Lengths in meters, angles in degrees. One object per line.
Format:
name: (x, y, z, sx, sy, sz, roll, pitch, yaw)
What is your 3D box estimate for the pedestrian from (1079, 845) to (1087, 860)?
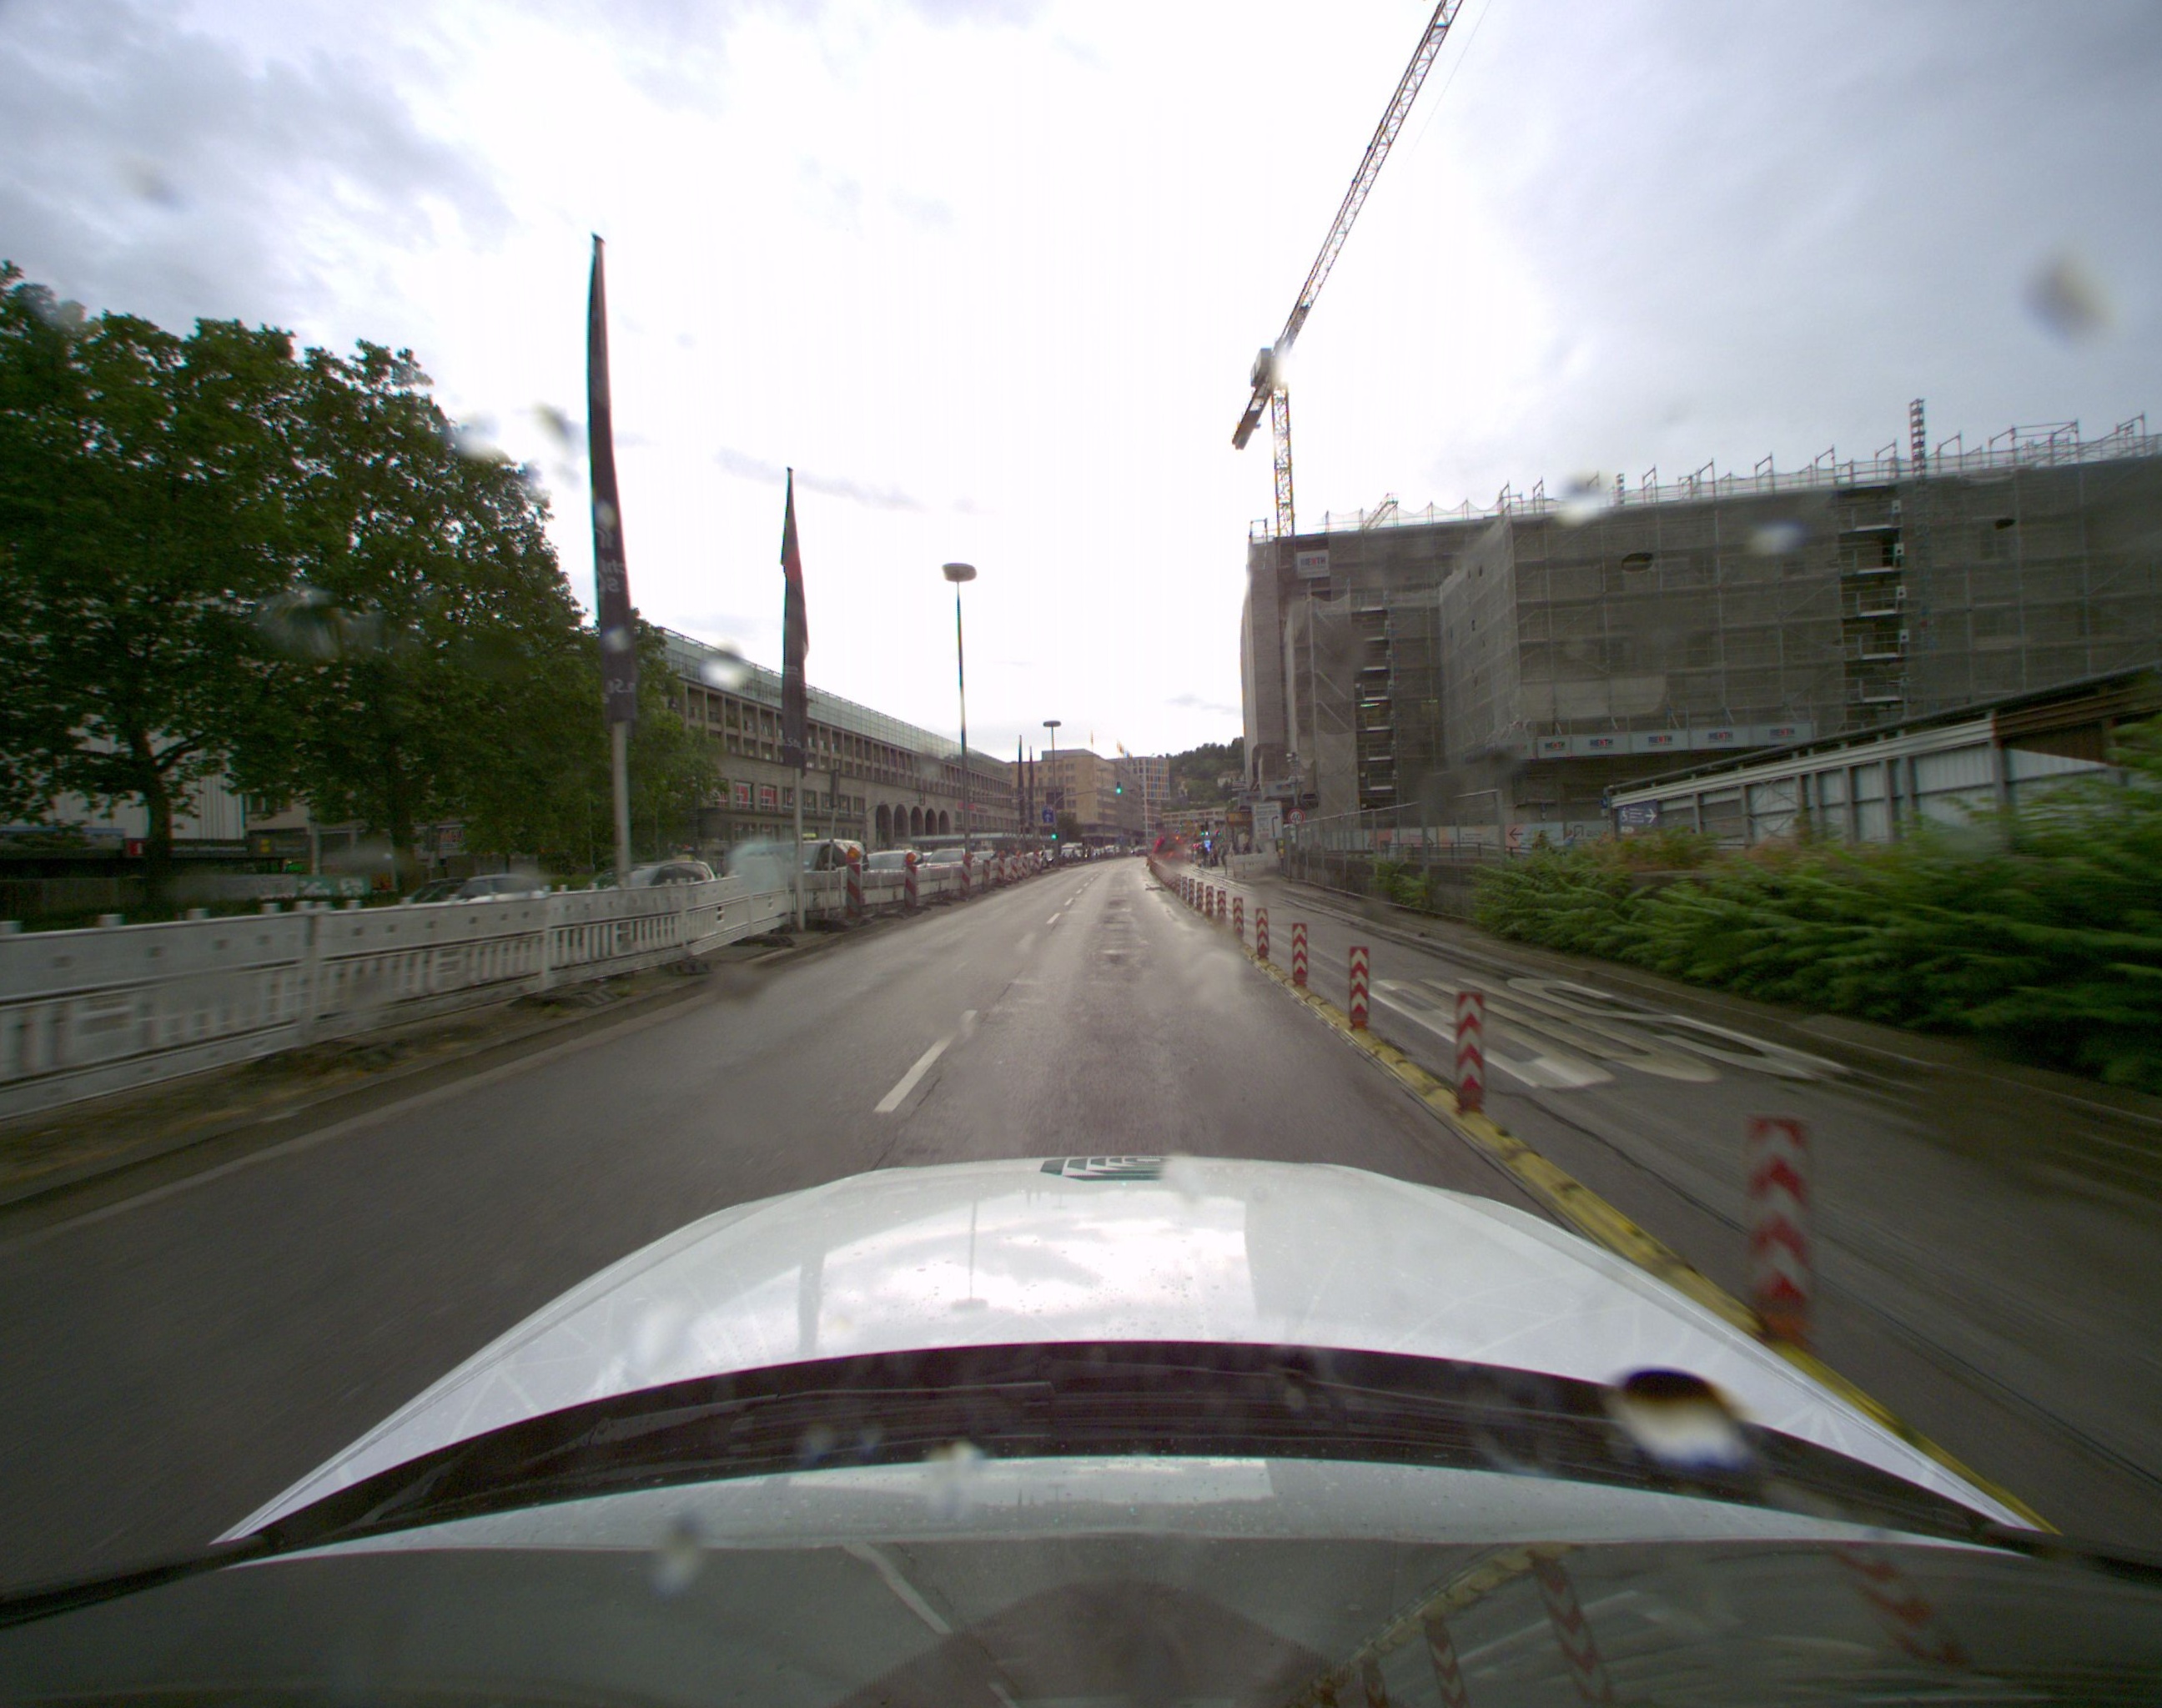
pedestrian: (0.235, -0.167, 92.338, 0.694, 1.754, 0.713, -2, 1, 8)

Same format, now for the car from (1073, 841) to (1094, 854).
car: (0.300, -0.823, 103.547, 1.919, 1.576, 5.023, -4, 0, 7)

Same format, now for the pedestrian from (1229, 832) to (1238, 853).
pedestrian: (14.463, -1.096, 77.276, 0.719, 1.847, 0.812, -5, 0, 8)

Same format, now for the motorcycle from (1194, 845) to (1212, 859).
motorcycle: (9.088, -0.114, 60.784, 0.589, 1.021, 1.226, -3, 1, -35)

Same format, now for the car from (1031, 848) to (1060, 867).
car: (-3.270, 0.293, 76.466, 2.005, 1.621, 4.851, -2, 1, 6)

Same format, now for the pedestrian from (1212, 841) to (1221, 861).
pedestrian: (10.248, -0.207, 61.741, 0.555, 1.449, 0.713, -5, 0, 9)

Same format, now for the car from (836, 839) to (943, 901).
car: (-6.330, 0.448, 27.567, 1.984, 1.770, 4.819, -3, 2, 6)

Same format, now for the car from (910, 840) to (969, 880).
car: (-7.375, 0.269, 42.973, 1.893, 1.898, 4.531, -1, 2, 6)

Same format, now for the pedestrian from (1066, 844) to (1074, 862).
pedestrian: (-1.047, -0.081, 76.774, 0.648, 1.711, 0.594, -1, 1, 6)

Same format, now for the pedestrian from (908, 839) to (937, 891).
pedestrian: (-6.335, 0.424, 32.568, 0.872, 2.013, 0.822, -2, 1, 2)

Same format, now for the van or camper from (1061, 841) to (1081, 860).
van or camper: (-1.392, -0.532, 116.664, 1.983, 2.514, 5.381, -5, 1, 7)

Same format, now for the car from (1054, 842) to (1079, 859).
car: (-1.591, -0.389, 90.527, 1.919, 1.690, 4.693, -4, 0, 8)

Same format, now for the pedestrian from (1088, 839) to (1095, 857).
pedestrian: (1.173, -0.655, 92.284, 0.719, 2.007, 0.774, -1, 1, 8)

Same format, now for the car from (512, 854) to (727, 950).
car: (-9.810, 0.926, 17.786, 1.881, 1.702, 4.309, -1, 2, 6)

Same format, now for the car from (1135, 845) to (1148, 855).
car: (10.183, -0.746, 137.042, 1.985, 1.552, 4.004, -3, 1, 3)

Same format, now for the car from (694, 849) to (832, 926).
car: (-9.265, 0.888, 24.204, 1.906, 1.851, 4.573, 3, 2, 5)

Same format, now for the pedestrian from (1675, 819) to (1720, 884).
pedestrian: (19.255, -0.084, 25.449, 0.861, 2.013, 0.765, 0, 0, 0)

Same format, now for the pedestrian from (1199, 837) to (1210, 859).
pedestrian: (10.007, -0.496, 65.909, 0.557, 1.759, 0.751, -5, 0, -5)

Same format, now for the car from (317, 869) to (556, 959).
car: (-15.103, 1.318, 19.461, 1.879, 1.702, 4.311, -1, 2, 8)

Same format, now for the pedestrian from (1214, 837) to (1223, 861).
pedestrian: (10.583, -0.401, 62.812, 0.555, 1.751, 0.713, -5, 0, 9)

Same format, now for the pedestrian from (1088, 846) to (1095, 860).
pedestrian: (1.260, -0.104, 96.025, 0.719, 1.606, 0.998, -1, 1, 8)

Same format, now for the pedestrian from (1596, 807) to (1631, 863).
pedestrian: (19.299, -0.680, 29.525, 0.775, 2.013, 0.765, 0, 0, 0)

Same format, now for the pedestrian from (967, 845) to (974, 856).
pedestrian: (-14.519, -0.450, 106.832, 0.707, 1.393, 0.699, -1, 1, -22)

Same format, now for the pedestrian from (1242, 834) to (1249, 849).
pedestrian: (18.046, -1.372, 89.194, 0.647, 1.539, 0.667, -5, 0, 9)

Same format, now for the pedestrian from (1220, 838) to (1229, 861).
pedestrian: (10.544, -0.316, 59.835, 0.555, 1.650, 0.616, -5, 0, 9)

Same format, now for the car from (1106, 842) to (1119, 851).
car: (5.873, -1.327, 150.475, 1.983, 1.552, 4.007, -3, 1, 6)

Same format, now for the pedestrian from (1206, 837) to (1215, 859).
pedestrian: (10.291, -0.493, 64.563, 0.555, 1.640, 0.754, -5, 0, 9)

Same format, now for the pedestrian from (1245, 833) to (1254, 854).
pedestrian: (13.603, -0.873, 65.777, 0.546, 1.632, 0.998, -5, 1, 8)

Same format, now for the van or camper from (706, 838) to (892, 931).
van or camper: (-6.248, 0.564, 18.907, 1.936, 1.819, 5.401, -1, 1, 6)

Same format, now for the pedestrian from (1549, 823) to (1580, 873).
pedestrian: (19.832, -0.233, 33.404, 0.801, 2.013, 0.765, 0, 0, 0)

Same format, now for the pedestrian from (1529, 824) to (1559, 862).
pedestrian: (19.519, -0.460, 34.322, 0.851, 1.593, 0.709, 0, 0, 0)

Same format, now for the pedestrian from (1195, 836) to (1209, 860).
pedestrian: (9.066, -0.471, 60.791, 0.584, 1.740, 0.813, -3, 1, -35)

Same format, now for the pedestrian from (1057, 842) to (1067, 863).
pedestrian: (-1.726, -0.146, 73.771, 0.780, 1.775, 0.606, -5, 0, -4)

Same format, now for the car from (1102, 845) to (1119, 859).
car: (4.754, -0.370, 132.216, 1.981, 2.178, 5.560, -2, 1, 10)

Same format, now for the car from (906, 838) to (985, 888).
car: (-5.600, 0.304, 34.319, 1.983, 1.817, 4.819, -3, 2, 6)

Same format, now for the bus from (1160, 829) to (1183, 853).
bus: (12.616, -1.779, 113.043, 2.739, 3.068, 9.103, -1, 1, 9)

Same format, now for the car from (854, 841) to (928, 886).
car: (-8.338, 0.363, 36.165, 1.775, 1.722, 4.491, -3, 2, 6)

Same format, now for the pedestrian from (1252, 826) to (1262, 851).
pedestrian: (12.404, -1.094, 57.484, 0.560, 1.650, 0.617, -5, 0, 13)
